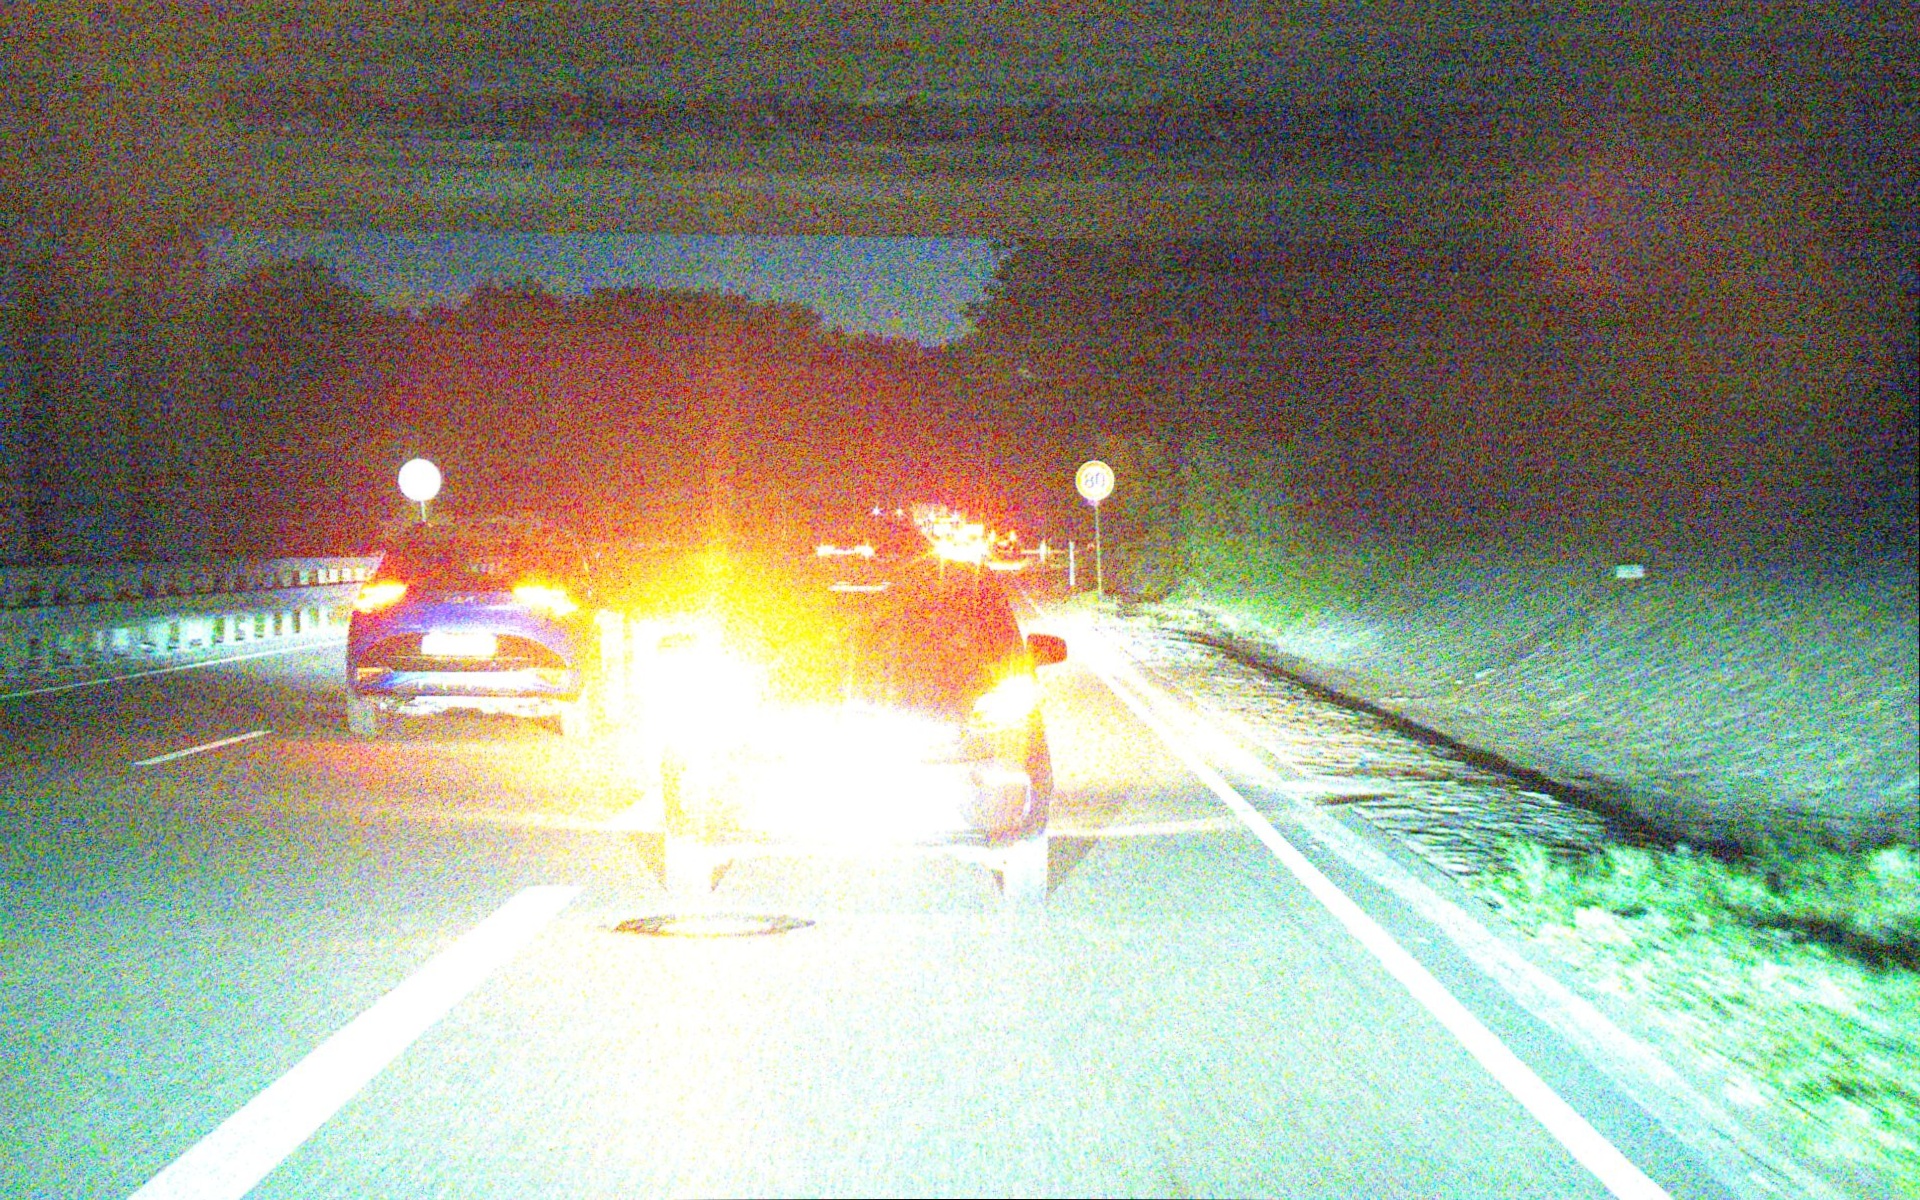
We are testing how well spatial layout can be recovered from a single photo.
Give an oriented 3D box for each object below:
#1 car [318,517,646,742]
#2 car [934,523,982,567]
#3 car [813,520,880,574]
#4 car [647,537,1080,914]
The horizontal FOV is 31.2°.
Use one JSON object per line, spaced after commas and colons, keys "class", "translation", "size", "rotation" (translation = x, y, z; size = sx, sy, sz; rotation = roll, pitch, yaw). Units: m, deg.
{"class": "car", "translation": [-3.694, 0.157, 27.359], "size": [1.940, 1.603, 4.644], "rotation": [1, 1, 0]}
{"class": "car", "translation": [-0.093, -2.114, 131.885], "size": [1.733, 1.612, 3.799], "rotation": [1, 1, -1]}
{"class": "car", "translation": [-3.616, -1.682, 110.468], "size": [1.951, 1.533, 4.241], "rotation": [-4, 0, 0]}
{"class": "car", "translation": [-0.521, 0.470, 15.685], "size": [1.691, 1.473, 4.001], "rotation": [1, 1, -4]}
